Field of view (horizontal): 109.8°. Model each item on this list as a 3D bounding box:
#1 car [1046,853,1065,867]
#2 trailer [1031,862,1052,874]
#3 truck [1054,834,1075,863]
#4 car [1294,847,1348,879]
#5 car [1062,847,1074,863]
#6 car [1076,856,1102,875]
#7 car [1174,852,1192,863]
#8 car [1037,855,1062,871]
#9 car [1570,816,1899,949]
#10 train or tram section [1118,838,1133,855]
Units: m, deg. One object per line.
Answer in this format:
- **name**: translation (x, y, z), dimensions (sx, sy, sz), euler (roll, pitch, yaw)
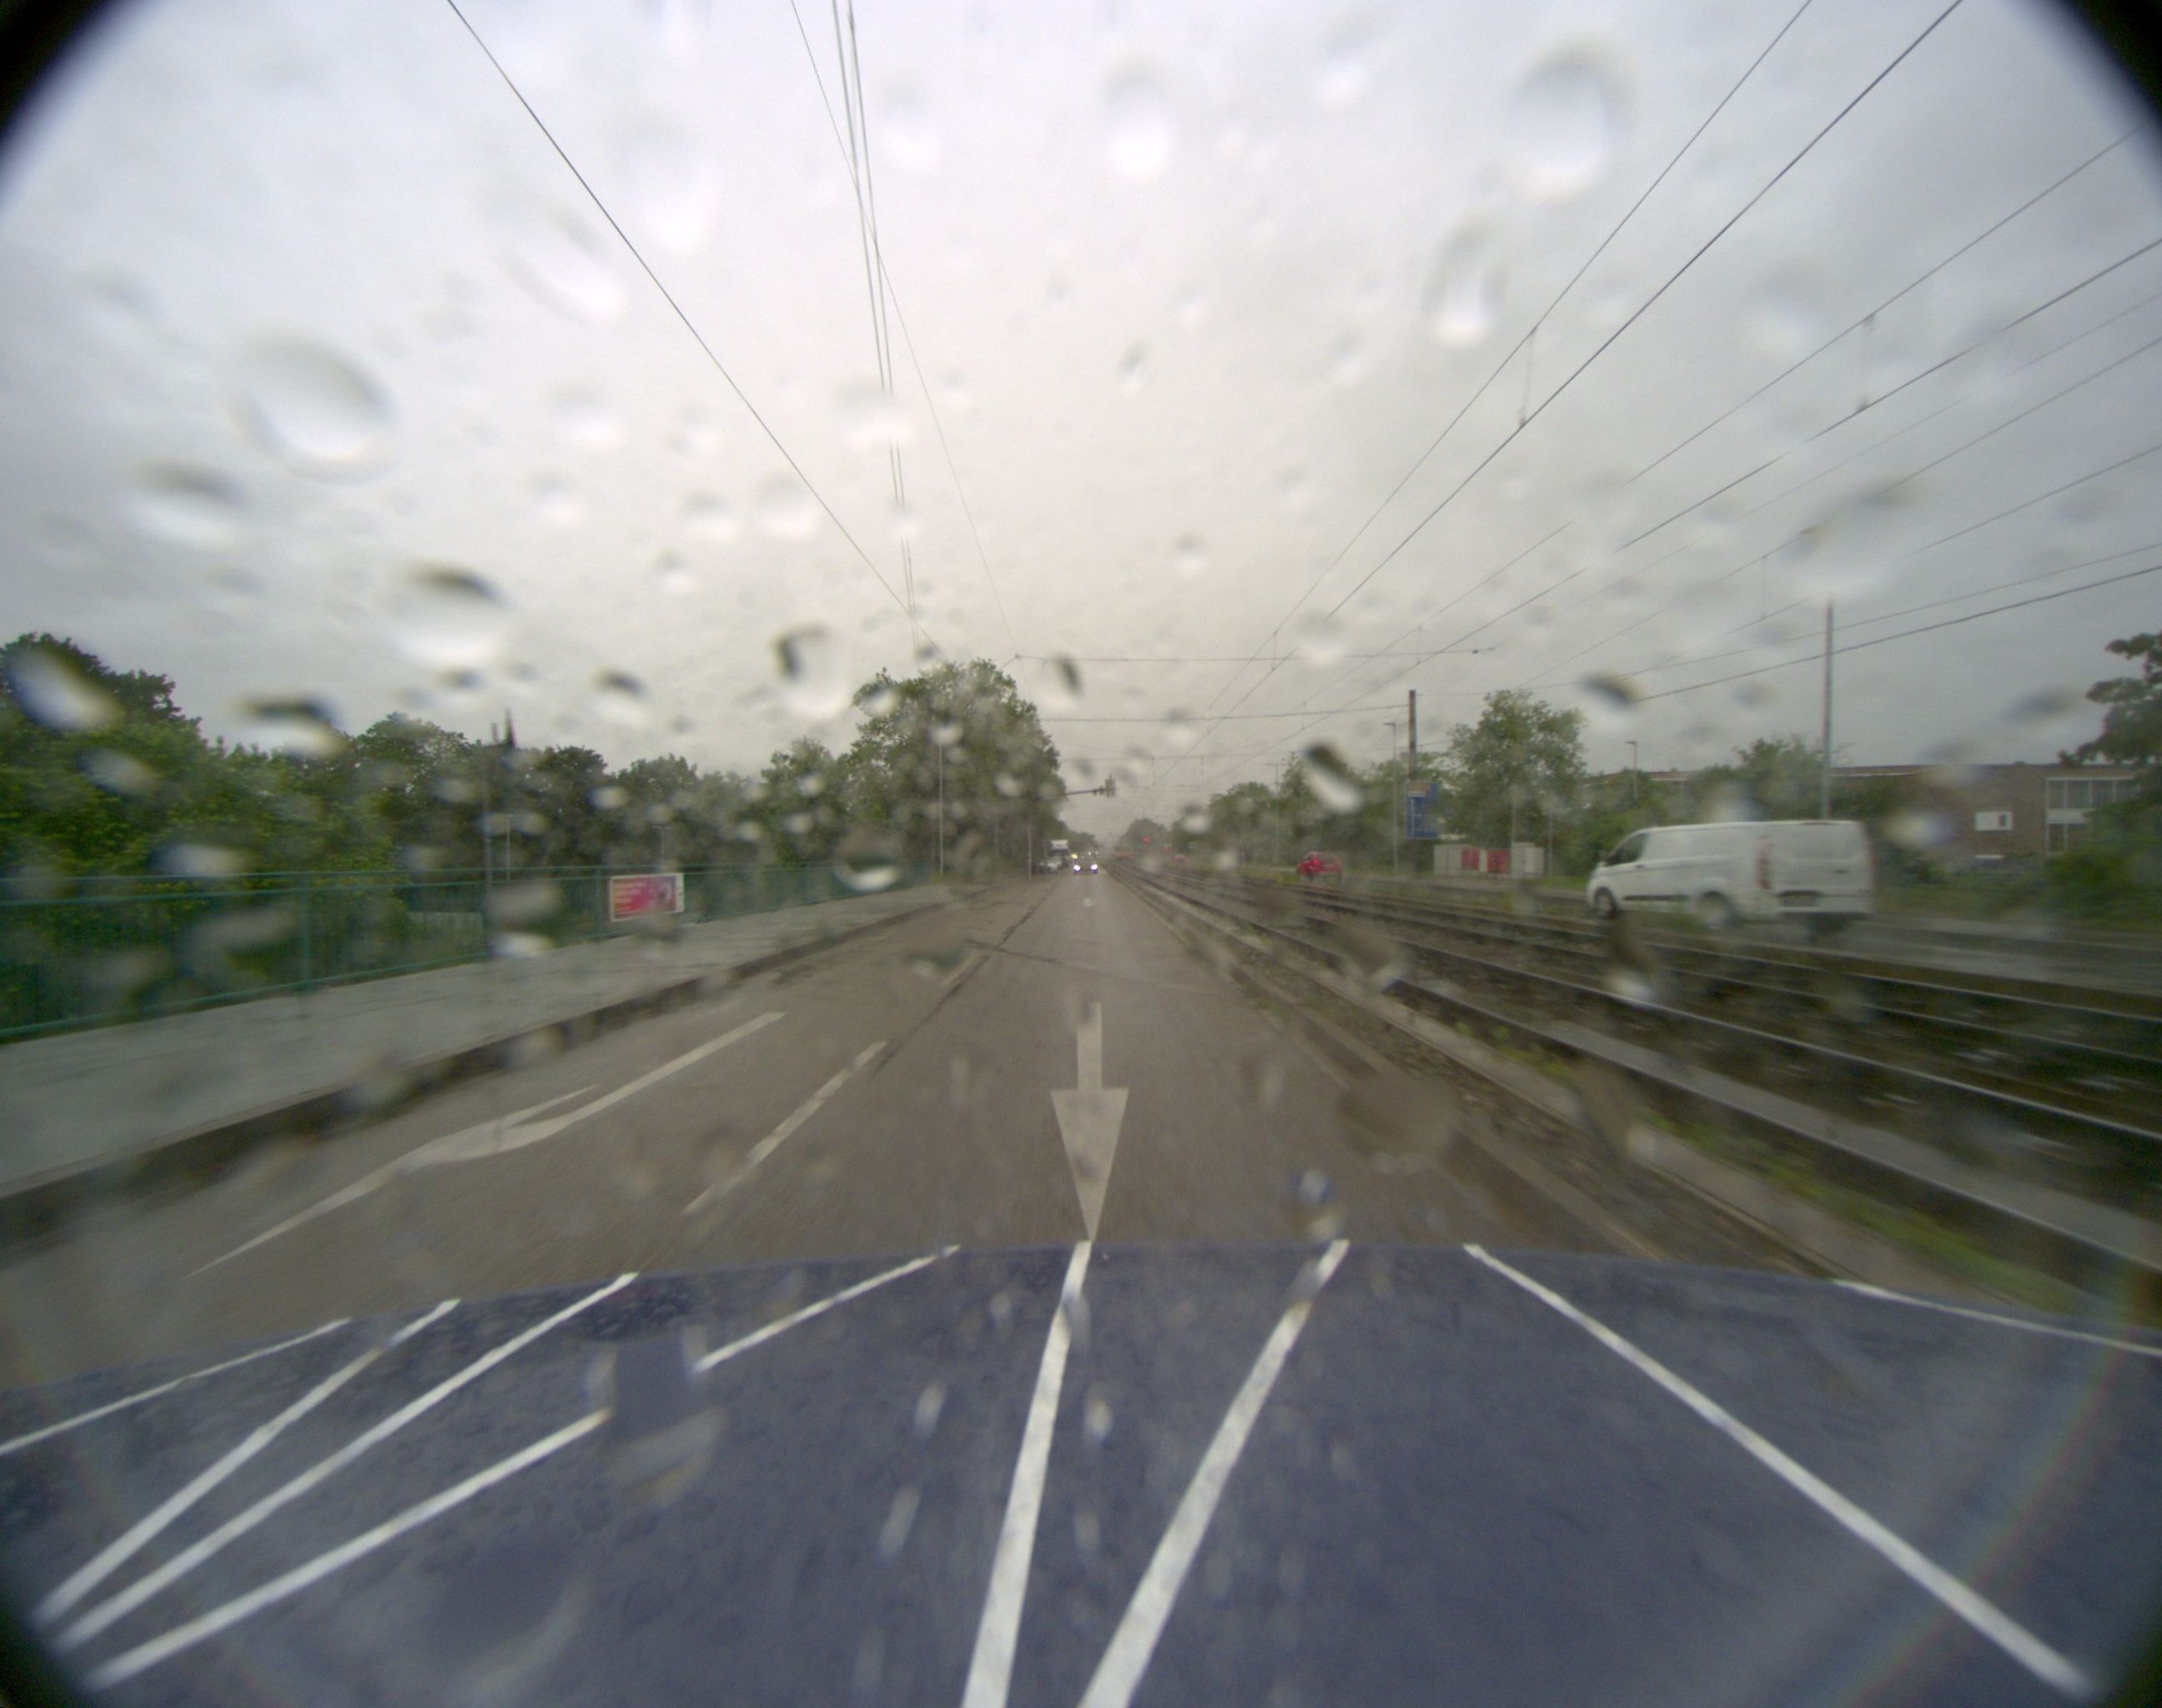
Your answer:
- **car**: translation (-2.991, 0.733, 90.994), dimensions (1.998, 1.497, 4.196), euler (-2, 0, 1)
- **trailer**: translation (-3.394, 1.173, 65.182), dimensions (1.546, 0.931, 3.276), euler (-2, 0, 1)
- **truck**: translation (-2.284, -0.677, 107.246), dimensions (2.567, 3.847, 7.846), euler (-2, 0, 1)
- **car**: translation (13.075, 0.439, 41.576), dimensions (1.728, 1.591, 3.650), euler (-2, 1, 0)
- **car**: translation (-2.323, 0.200, 138.248), dimensions (1.998, 2.661, 4.196), euler (-2, 0, 1)
- **car**: translation (0.678, 0.938, 64.519), dimensions (1.998, 1.497, 4.196), euler (-2, 0, 1)
- **car**: translation (15.093, 0.514, 112.530), dimensions (1.999, 1.514, 4.956), euler (-2, 1, 0)
- **car**: translation (-2.918, 0.809, 71.367), dimensions (1.998, 1.394, 4.196), euler (-2, 0, 1)
- **car**: translation (12.067, 0.448, 14.654), dimensions (1.998, 2.032, 5.028), euler (-2, 0, 0)
- **train or tram section**: translation (10.067, -1.772, 172.108), dimensions (2.460, 3.603, 15.104), euler (-2, 1, 1)
